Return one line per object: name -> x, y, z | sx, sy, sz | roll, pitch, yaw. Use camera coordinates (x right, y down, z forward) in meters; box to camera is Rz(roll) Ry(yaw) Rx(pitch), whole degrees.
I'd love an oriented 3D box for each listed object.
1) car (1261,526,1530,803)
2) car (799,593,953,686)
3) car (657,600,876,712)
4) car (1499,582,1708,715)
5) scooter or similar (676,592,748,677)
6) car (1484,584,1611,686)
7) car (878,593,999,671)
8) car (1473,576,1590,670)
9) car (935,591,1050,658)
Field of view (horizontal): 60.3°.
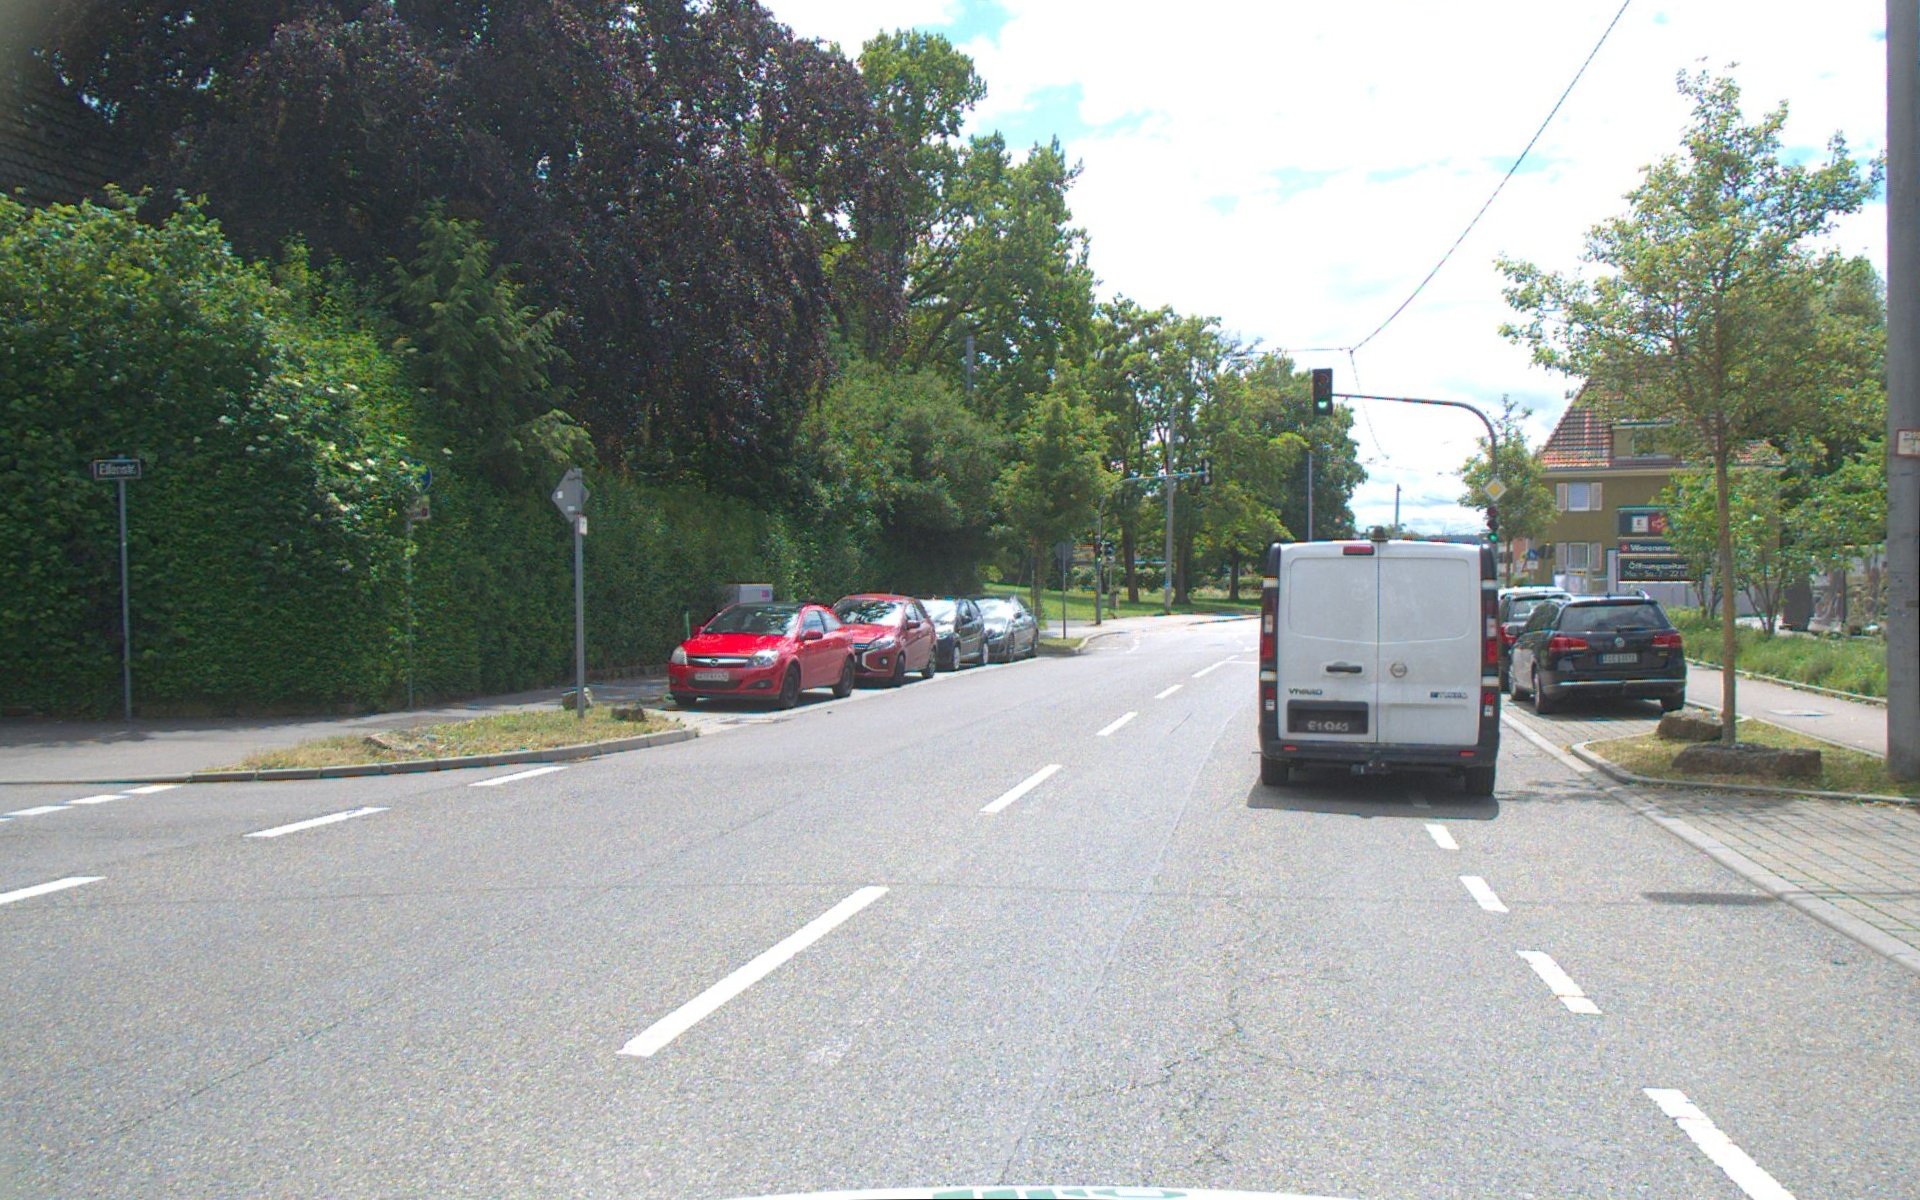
car -> 3.791, 0.440, 14.523 | 1.897, 1.995, 4.837 | 1, 0, 14
car -> -1.394, 0.631, 29.046 | 1.614, 1.476, 4.108 | 1, 0, 13
car -> -2.662, 0.724, 23.889 | 1.625, 1.402, 4.570 | 1, 0, 14
car -> 8.443, 0.581, 22.129 | 1.727, 1.503, 4.940 | -3, 0, 12
scooter or similar -> -4.386, 0.589, 29.401 | 0.656, 1.437, 1.650 | 1, 1, 15
car -> 9.520, 0.529, 27.045 | 1.535, 1.519, 4.003 | -1, 0, 14
car -> -0.389, 0.616, 33.819 | 1.561, 1.476, 3.599 | 1, 0, 15
car -> 11.126, 0.426, 32.445 | 1.700, 1.644, 4.390 | -3, -1, 14
car -> 0.821, 0.516, 37.959 | 1.659, 1.389, 4.690 | 1, 1, 13
